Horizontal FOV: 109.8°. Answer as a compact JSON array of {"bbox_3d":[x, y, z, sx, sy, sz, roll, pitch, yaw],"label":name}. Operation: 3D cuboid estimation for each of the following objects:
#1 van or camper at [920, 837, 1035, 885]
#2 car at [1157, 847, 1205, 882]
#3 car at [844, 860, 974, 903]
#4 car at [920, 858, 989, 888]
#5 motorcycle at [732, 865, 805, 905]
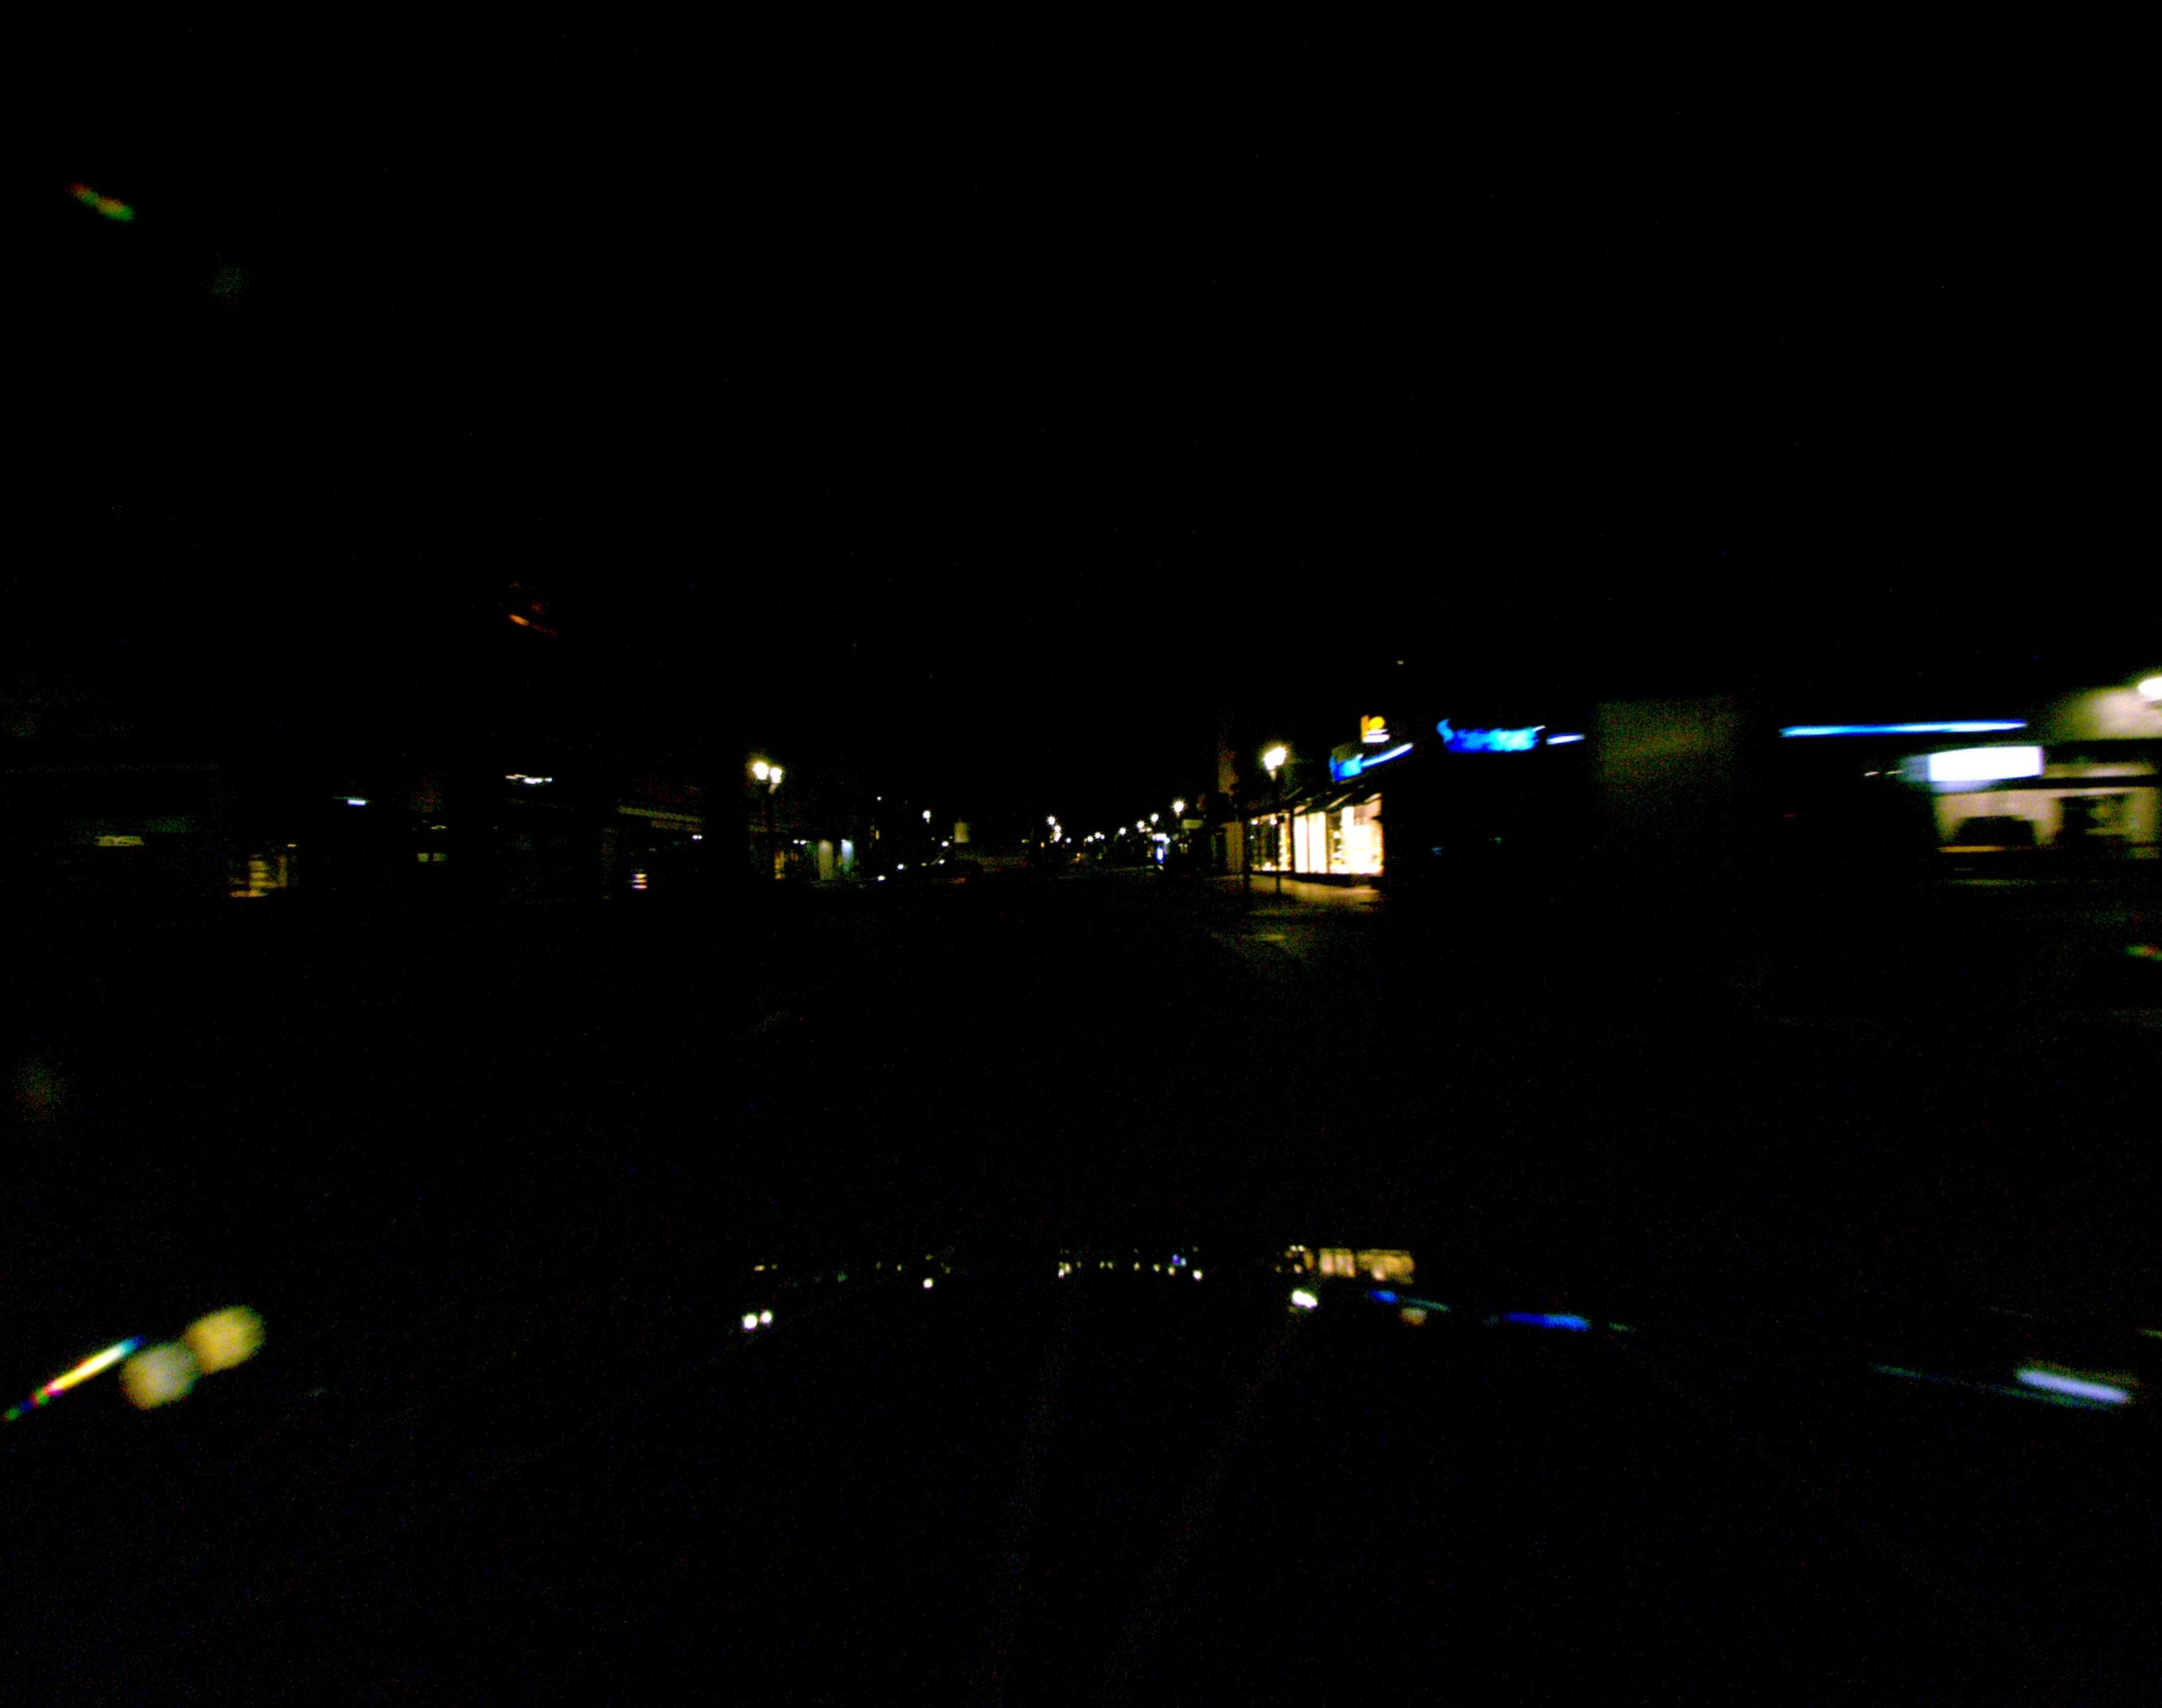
[{"bbox_3d":[-5.878,0.354,43.327,6.060,2.518,2.157,-2,1,-29],"label":"van or camper"},{"bbox_3d":[4.604,0.455,35.520,1.655,1.417,4.014,-4,0,0],"label":"car"},{"bbox_3d":[-6.577,1.011,29.244,4.555,1.447,1.633,-2,0,-34],"label":"car"},{"bbox_3d":[-6.671,0.986,40.060,3.183,1.447,1.691,-2,0,-26],"label":"car"},{"bbox_3d":[-10.613,1.025,25.863,2.226,1.263,0.531,-2,1,-41],"label":"motorcycle"}]
